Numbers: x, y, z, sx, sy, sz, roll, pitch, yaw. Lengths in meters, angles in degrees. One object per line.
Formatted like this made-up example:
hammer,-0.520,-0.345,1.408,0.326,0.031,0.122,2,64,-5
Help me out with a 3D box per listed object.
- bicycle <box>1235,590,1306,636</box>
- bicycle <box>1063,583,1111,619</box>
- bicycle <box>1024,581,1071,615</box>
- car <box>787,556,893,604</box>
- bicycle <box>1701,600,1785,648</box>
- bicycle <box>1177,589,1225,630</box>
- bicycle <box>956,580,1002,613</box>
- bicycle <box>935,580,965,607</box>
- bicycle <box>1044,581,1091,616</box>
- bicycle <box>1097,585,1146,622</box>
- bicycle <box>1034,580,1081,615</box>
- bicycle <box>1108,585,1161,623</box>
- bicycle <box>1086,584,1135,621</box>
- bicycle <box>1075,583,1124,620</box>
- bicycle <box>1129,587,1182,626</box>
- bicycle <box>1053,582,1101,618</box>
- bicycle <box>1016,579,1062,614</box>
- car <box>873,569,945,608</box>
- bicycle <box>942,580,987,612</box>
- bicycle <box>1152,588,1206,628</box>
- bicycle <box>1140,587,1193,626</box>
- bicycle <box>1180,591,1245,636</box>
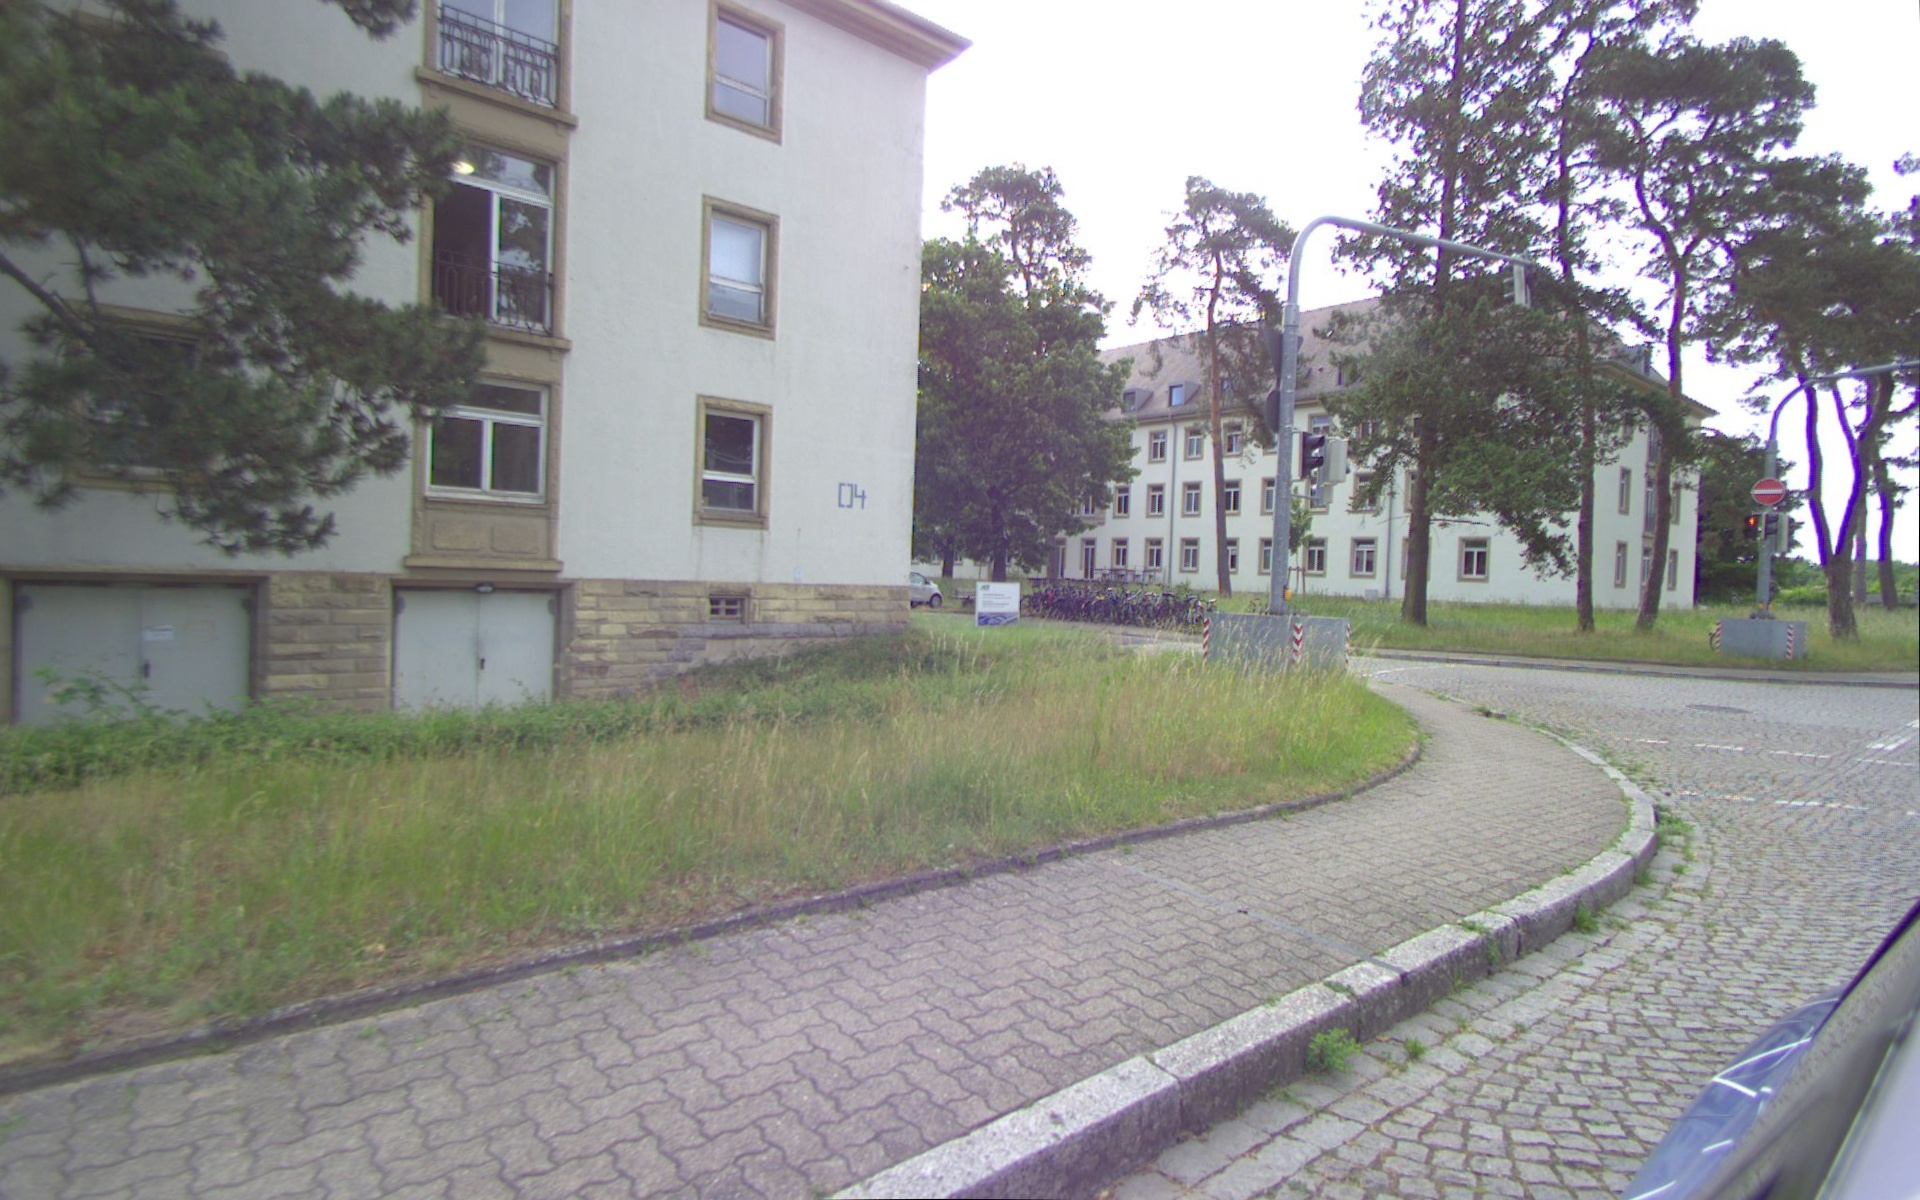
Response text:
bicycle,7.996,0.327,26.103,0.604,1.099,1.654,1,2,-43
bicycle,4.159,0.044,32.985,1.698,1.141,0.448,1,1,-37
bicycle,2.997,-0.068,34.530,1.698,1.141,0.448,1,1,-37
car,-5.029,-0.836,42.793,2.001,1.902,4.326,3,2,37
bicycle,19.161,0.586,24.777,1.623,1.099,0.616,2,1,-8
bicycle,7.047,0.270,29.583,1.628,1.141,0.476,1,1,-41
bicycle,0.696,-0.127,36.592,1.698,1.141,0.448,1,1,-37
bicycle,-0.429,-0.277,44.748,0.475,1.141,1.580,2,1,35
bicycle,3.603,-0.032,33.780,1.698,1.141,0.448,1,1,-37
bicycle,5.083,0.108,31.762,1.698,1.141,0.448,1,1,-37
bicycle,3.307,-0.063,34.135,1.698,1.141,0.448,1,1,-37
bicycle,5.397,0.118,31.308,1.696,1.141,0.448,1,1,-32
bicycle,4.778,0.076,32.171,1.698,1.141,0.448,1,1,-37
bicycle,4.496,0.049,32.563,1.698,1.141,0.448,1,1,-37
bicycle,5.933,0.192,30.726,1.696,1.141,0.448,1,1,-32
bicycle,3.881,0.013,33.387,1.698,1.141,0.448,1,1,-37
bicycle,2.724,-0.113,34.872,1.698,1.141,0.448,1,1,-37
car,-2.044,-0.469,40.931,2.614,1.488,1.344,1,1,-41
bicycle,0.159,-0.132,36.930,1.698,1.141,0.448,1,1,-37
bicycle,6.479,0.229,29.918,1.669,1.141,0.477,1,1,-32
bicycle,6.185,0.198,30.315,1.668,1.141,0.448,1,1,-32
bicycle,6.812,0.351,27.329,0.603,1.099,1.656,1,2,-37
